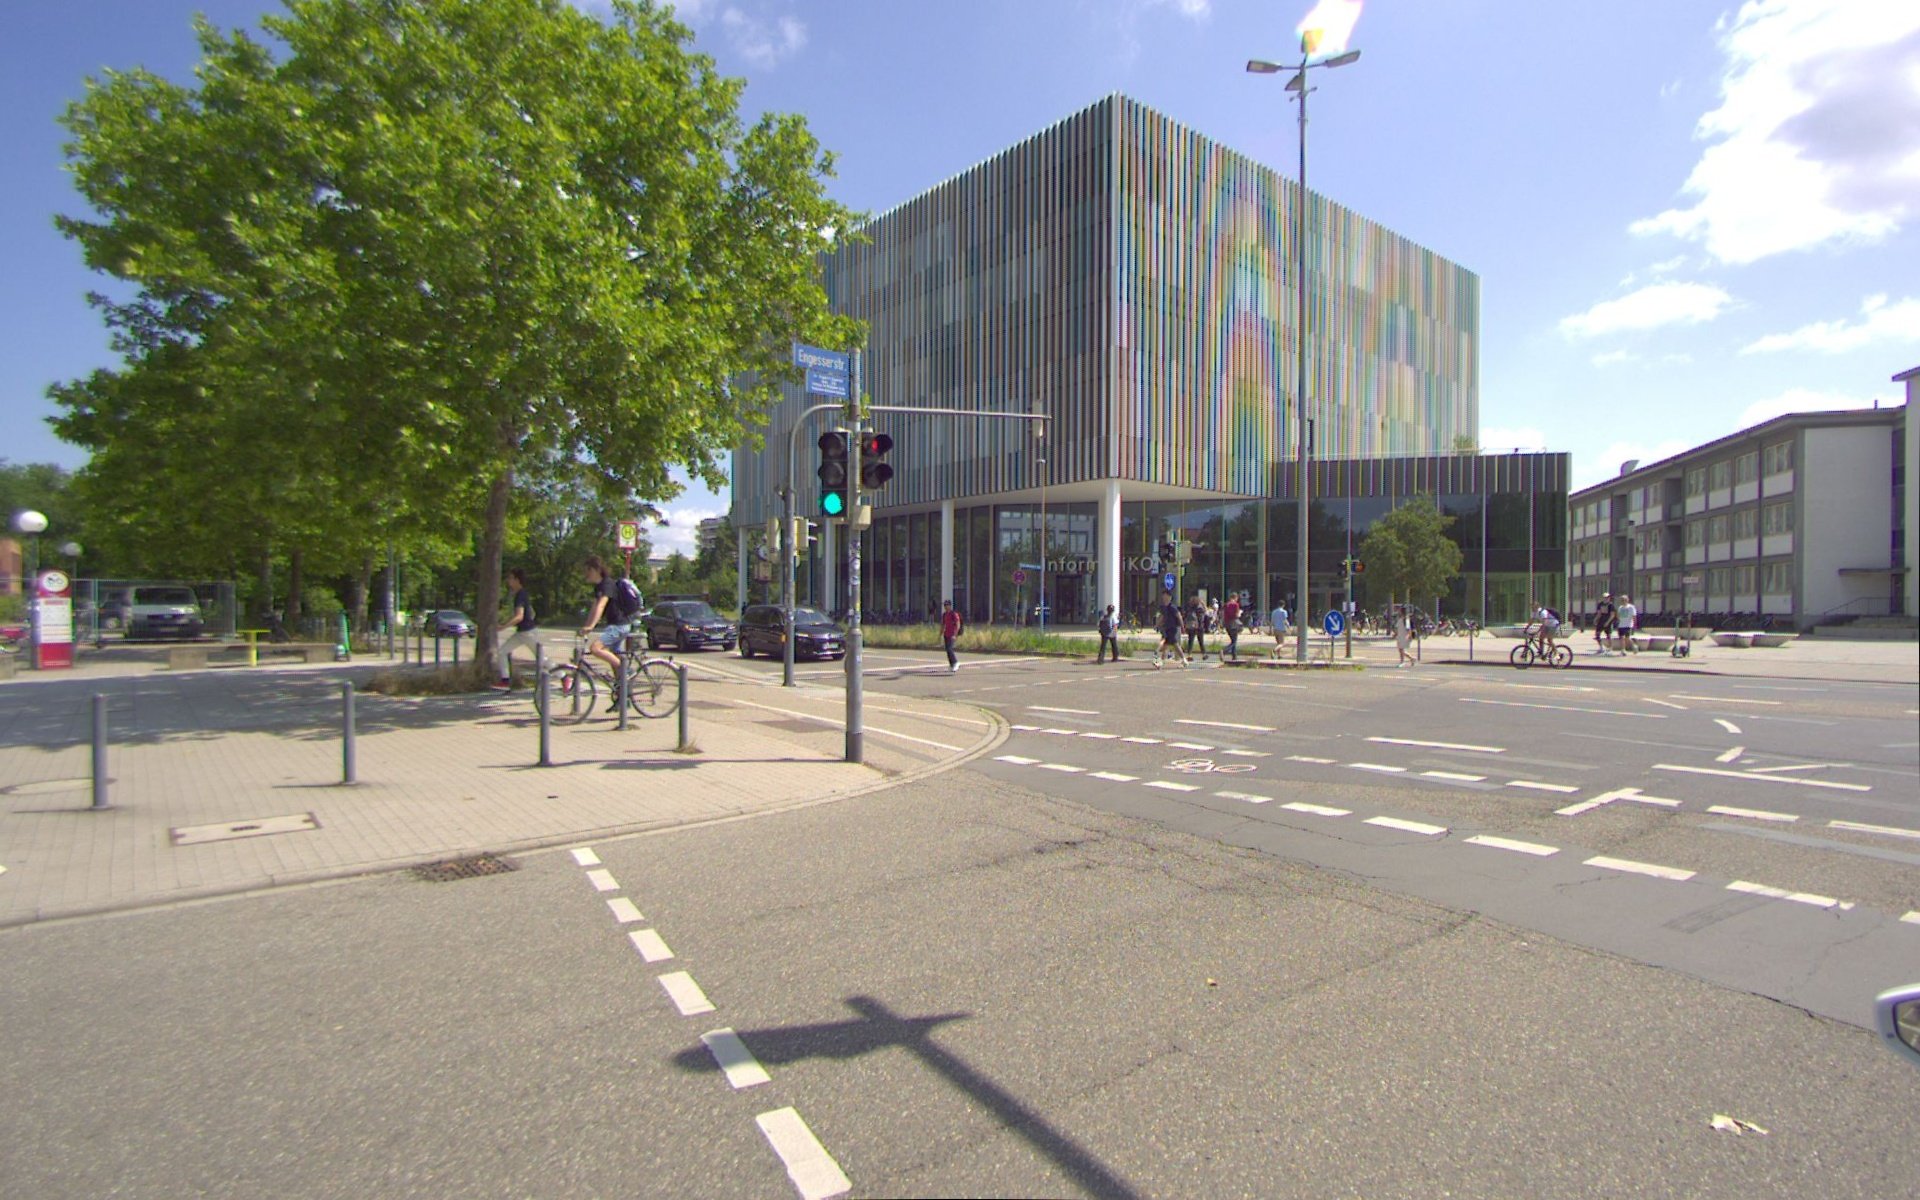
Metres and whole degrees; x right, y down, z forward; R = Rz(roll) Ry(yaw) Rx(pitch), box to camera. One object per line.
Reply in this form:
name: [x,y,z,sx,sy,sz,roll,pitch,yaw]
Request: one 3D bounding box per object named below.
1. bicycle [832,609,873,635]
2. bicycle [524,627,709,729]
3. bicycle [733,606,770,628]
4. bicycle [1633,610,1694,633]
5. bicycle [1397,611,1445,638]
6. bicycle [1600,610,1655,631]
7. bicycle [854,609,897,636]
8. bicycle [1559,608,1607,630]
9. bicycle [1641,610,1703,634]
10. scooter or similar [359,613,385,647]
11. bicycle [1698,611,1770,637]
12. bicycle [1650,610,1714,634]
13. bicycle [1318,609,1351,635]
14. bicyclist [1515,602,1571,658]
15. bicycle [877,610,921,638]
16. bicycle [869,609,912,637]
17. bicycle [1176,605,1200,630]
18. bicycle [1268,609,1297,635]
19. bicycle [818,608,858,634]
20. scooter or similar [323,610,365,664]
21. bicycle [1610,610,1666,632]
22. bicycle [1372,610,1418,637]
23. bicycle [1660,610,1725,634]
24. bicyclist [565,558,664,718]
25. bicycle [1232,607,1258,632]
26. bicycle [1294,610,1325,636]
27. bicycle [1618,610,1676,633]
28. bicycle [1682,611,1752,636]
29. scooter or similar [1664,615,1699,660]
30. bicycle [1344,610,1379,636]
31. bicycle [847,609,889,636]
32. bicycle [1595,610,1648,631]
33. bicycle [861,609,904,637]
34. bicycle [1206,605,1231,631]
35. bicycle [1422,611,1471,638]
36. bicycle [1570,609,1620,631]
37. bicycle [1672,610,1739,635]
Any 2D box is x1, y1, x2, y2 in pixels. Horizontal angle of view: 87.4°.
bicycle: [-7.868,1.575,73.402,2.925,1.863,0.952,1,0,-38]
bicycle: [-4.145,0.904,12.173,2.002,1.137,0.767,1,-1,-30]
bicycle: [-17.838,1.450,86.006,2.927,1.863,0.951,1,0,-40]
bicycle: [44.333,1.373,63.346,2.905,1.381,1.118,1,0,13]
bicycle: [22.725,1.176,49.580,1.177,1.254,2.952,1,0,5]
bicycle: [46.094,1.415,69.394,2.905,1.381,1.118,1,0,13]
bicycle: [-5.965,1.592,70.792,2.924,1.863,0.952,1,0,-37]
bicycle: [48.131,1.466,77.641,2.905,1.595,1.118,1,0,13]
bicycle: [44.019,1.357,62.123,2.905,1.381,1.118,1,0,13]
scooter or similar: [-27.772,1.414,47.427,0.725,1.559,2.625,0,-1,-37]
bicycle: [42.519,1.305,55.237,2.905,1.381,1.118,1,0,13]
bicycle: [43.708,1.317,60.849,2.905,1.381,1.118,1,0,13]
bicycle: [18.881,1.106,50.748,1.176,1.254,2.953,1,0,14]
bicyclist: [15.887,0.813,27.384,1.051,1.487,0.849,0,0,-17]
bicycle: [-4.159,1.609,68.305,2.924,1.863,0.952,1,0,-38]
bicycle: [-4.757,1.603,69.142,2.924,1.863,0.952,1,0,-37]
bicycle: [11.769,0.892,51.745,1.176,1.254,2.953,1,0,14]
bicycle: [16.483,1.118,51.344,1.176,1.254,2.953,1,0,14]
bicycle: [-9.111,1.563,75.016,2.925,1.863,0.952,1,0,-38]
scooter or similar: [-14.331,0.836,23.347,0.490,1.212,1.712,0,0,-44]
bicycle: [45.419,1.410,67.327,2.905,1.381,1.118,1,0,13]
bicycle: [21.477,1.125,49.679,1.177,1.254,2.952,1,0,5]
bicycle: [43.408,1.303,59.557,2.905,1.381,1.118,1,0,13]
bicyclist: [-4.193,0.450,12.165,0.988,1.841,0.785,1,-1,-31]
bicycle: [14.577,0.981,51.446,1.176,1.254,2.953,1,0,14]
bicycle: [17.725,1.136,51.047,1.176,1.254,2.953,1,0,14]
bicycle: [44.865,1.393,65.675,2.905,1.381,1.118,1,0,13]
bicycle: [42.815,1.318,56.861,2.905,1.381,1.276,1,0,13]
scooter or similar: [20.931,1.065,29.184,0.706,1.194,2.717,0,0,33]
bicycle: [20.123,1.141,50.402,1.176,1.254,2.953,1,0,13]
bicycle: [-6.565,1.587,71.662,2.924,1.863,0.952,1,0,-37]
bicycle: [46.541,1.430,70.697,2.905,1.381,1.118,1,0,13]
bicycle: [-5.363,1.598,69.959,2.924,1.863,0.952,1,0,-37]
bicycle: [13.259,0.915,51.577,1.176,1.254,2.953,1,0,14]
bicycle: [23.851,1.195,49.329,1.177,1.254,2.952,1,0,5]
bicycle: [47.421,1.479,75.060,2.905,1.595,1.118,1,0,13]
bicycle: [43.094,1.296,58.114,2.905,1.381,1.118,1,0,13]
